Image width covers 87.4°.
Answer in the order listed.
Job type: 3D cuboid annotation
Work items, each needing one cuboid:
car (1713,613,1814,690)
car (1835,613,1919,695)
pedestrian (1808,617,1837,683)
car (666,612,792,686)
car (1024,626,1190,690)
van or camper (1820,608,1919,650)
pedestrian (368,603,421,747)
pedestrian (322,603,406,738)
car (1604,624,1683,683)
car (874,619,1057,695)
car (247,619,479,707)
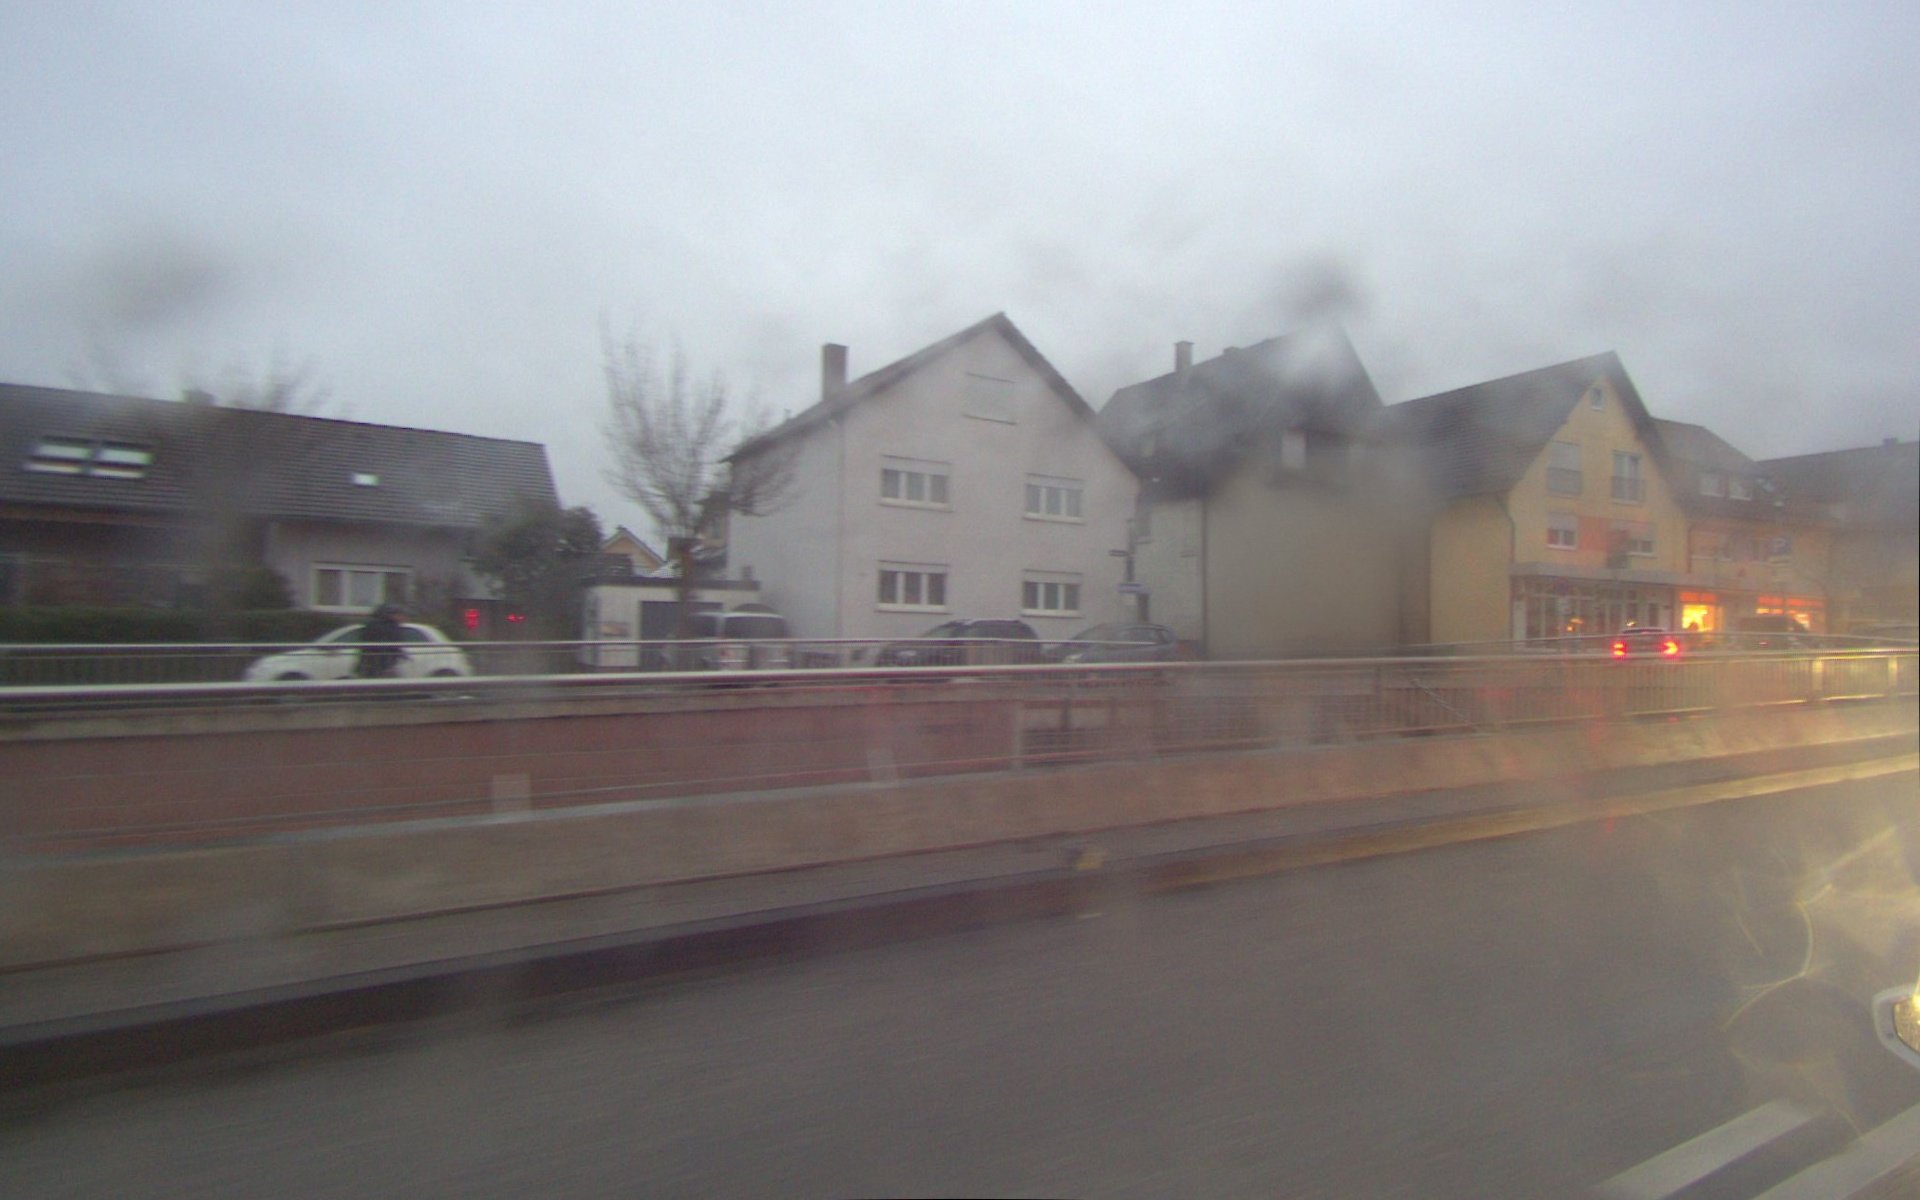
[{"bbox_3d":[21.980,1.355,27.631,2.011,1.951,4.041,-1,-2,37],"label":"car"},{"bbox_3d":[24.003,1.335,25.770,2.011,1.951,4.041,-1,-2,37],"label":"car"},{"bbox_3d":[23.012,1.338,26.813,0.489,1.723,0.710,-2,-3,37],"label":"pedestrian"},{"bbox_3d":[-5.925,1.211,25.482,1.845,1.716,3.963,1,-2,-34],"label":"car"},{"bbox_3d":[3.963,1.497,26.958,4.166,1.583,1.902,1,-1,-29],"label":"car"},{"bbox_3d":[45.352,1.407,48.663,1.965,1.980,5.536,0,-1,-12],"label":"van or camper"},{"bbox_3d":[-7.005,0.900,12.448,0.535,1.720,0.660,1,0,-30],"label":"pedestrian"},{"bbox_3d":[-8.399,0.958,14.184,0.962,1.808,0.923,1,0,-30],"label":"pedestrian"},{"bbox_3d":[20.563,1.536,30.167,1.798,1.634,4.041,-1,-2,37],"label":"car"},{"bbox_3d":[0.159,1.342,24.674,4.171,1.705,1.900,1,-1,-33],"label":"car"},{"bbox_3d":[-10.646,1.102,18.060,3.422,1.446,1.474,2,-2,-33],"label":"car"}]
